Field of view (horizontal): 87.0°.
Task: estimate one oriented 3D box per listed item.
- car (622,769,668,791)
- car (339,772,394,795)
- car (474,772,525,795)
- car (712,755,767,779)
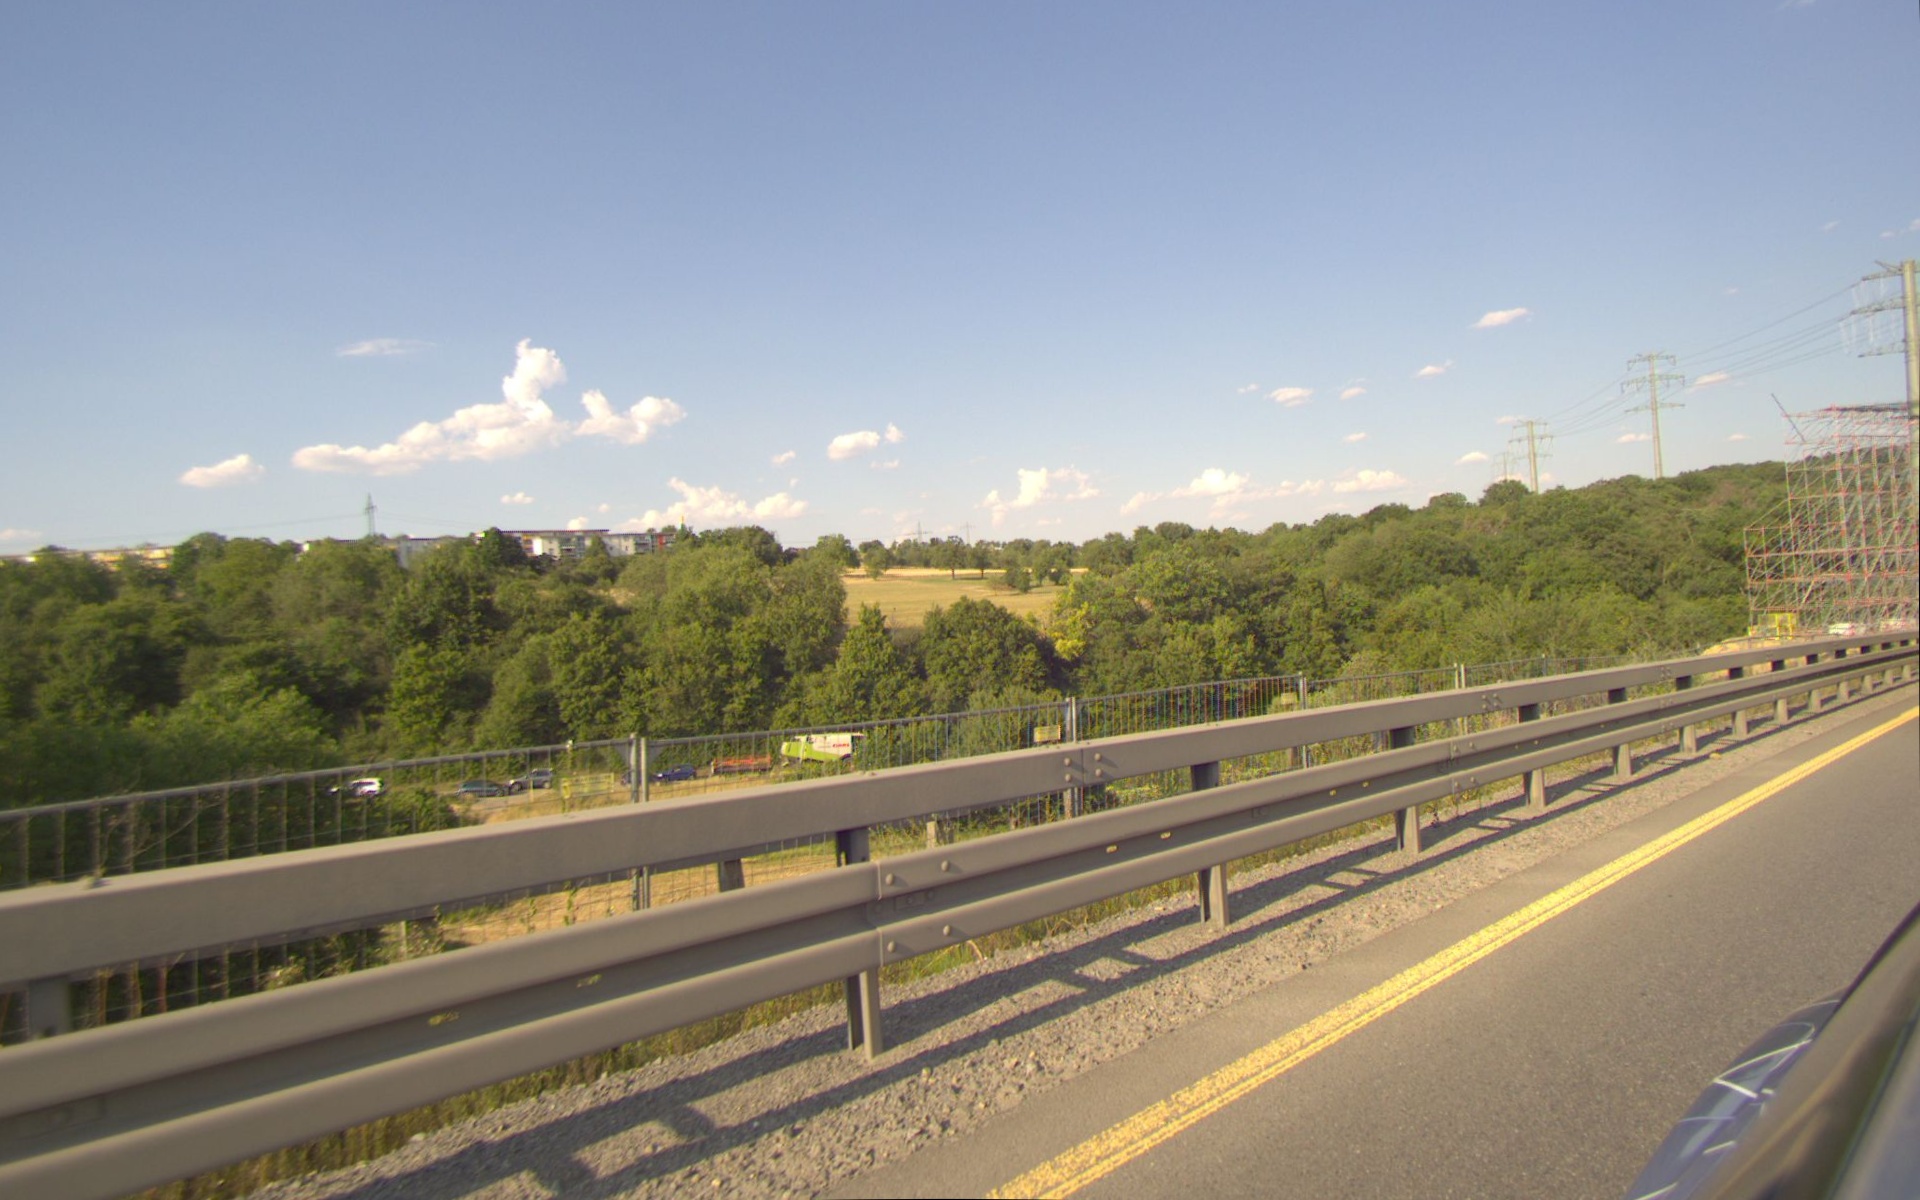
[{"bbox_3d":[-29.345,16.799,94.332,4.020,1.573,1.686,0,1,-12],"label":"car"},{"bbox_3d":[-53.822,16.652,91.862,4.020,1.573,1.686,0,1,-13],"label":"car"},{"bbox_3d":[-41.450,16.539,91.150,4.019,1.573,1.686,0,1,-17],"label":"car"},{"bbox_3d":[-21.066,15.942,96.790,5.024,1.858,1.711,0,1,-12],"label":"car"}]
